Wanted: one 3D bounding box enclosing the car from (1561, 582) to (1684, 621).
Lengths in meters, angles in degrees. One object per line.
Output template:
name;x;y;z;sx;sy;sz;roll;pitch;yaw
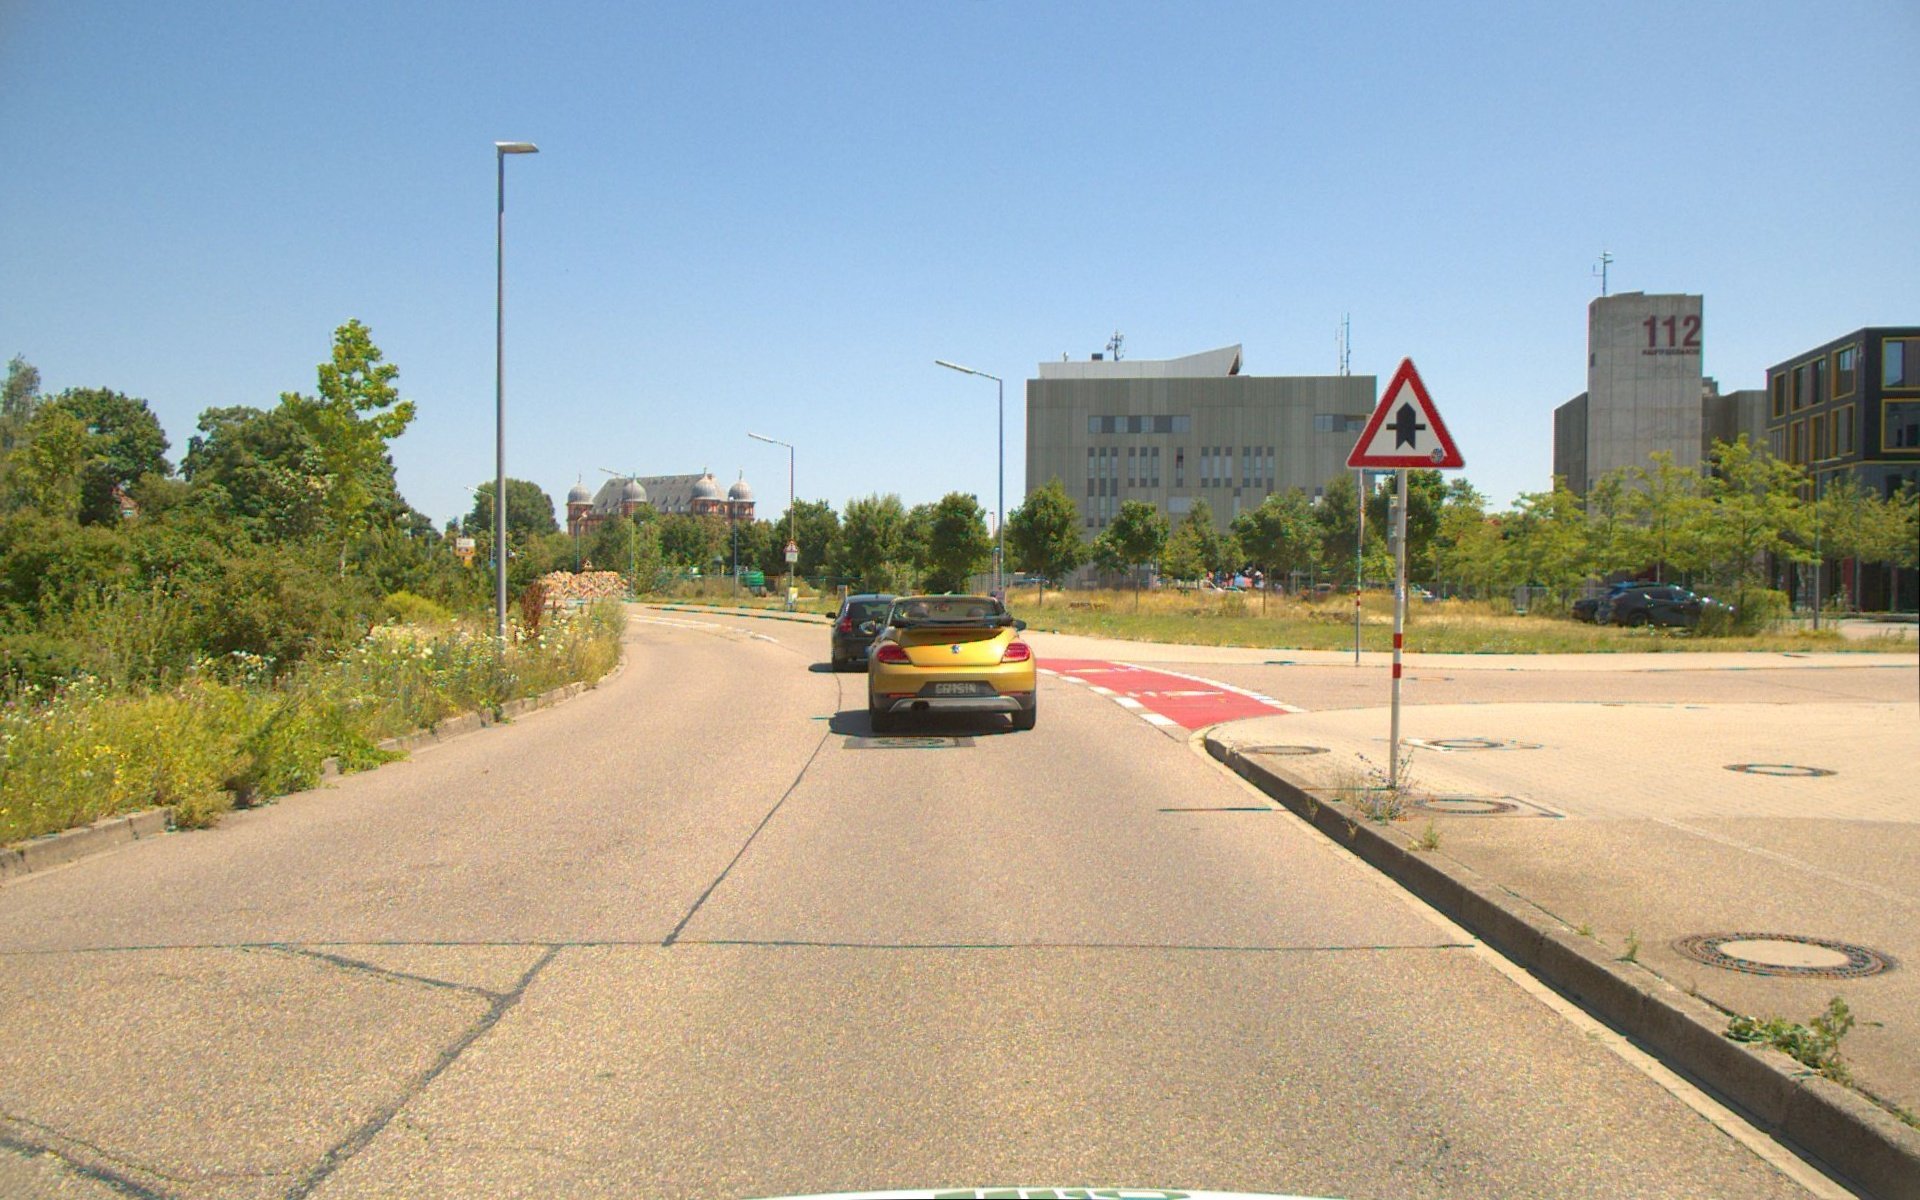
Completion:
car;25.774;0.041;64.460;4.026;1.470;1.963;0;0;4

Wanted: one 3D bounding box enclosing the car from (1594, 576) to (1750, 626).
car;23.599;0.013;54.978;4.397;1.589;2.034;0;0;8

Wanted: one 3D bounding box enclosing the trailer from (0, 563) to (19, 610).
trailer;-43.497;-0.587;73.040;3.379;2.081;1.742;0;0;-31

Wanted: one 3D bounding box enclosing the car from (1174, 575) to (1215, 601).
car;21.775;-1.125;153.655;3.760;2.334;1.744;0;0;10

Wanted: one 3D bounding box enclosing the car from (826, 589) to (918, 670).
car;-1.751;0.527;32.302;1.693;1.468;3.997;0;0;-4

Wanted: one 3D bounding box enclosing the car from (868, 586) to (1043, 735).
car;-0.032;0.592;18.521;1.753;1.462;3.814;0;1;0

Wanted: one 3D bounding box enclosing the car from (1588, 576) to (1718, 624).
car;24.905;-0.008;59.543;3.971;1.680;1.956;0;0;9

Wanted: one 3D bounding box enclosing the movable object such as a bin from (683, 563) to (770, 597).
movable object such as a bin;-23.773;-1.967;168.010;4.895;3.317;10.347;0;0;-34
